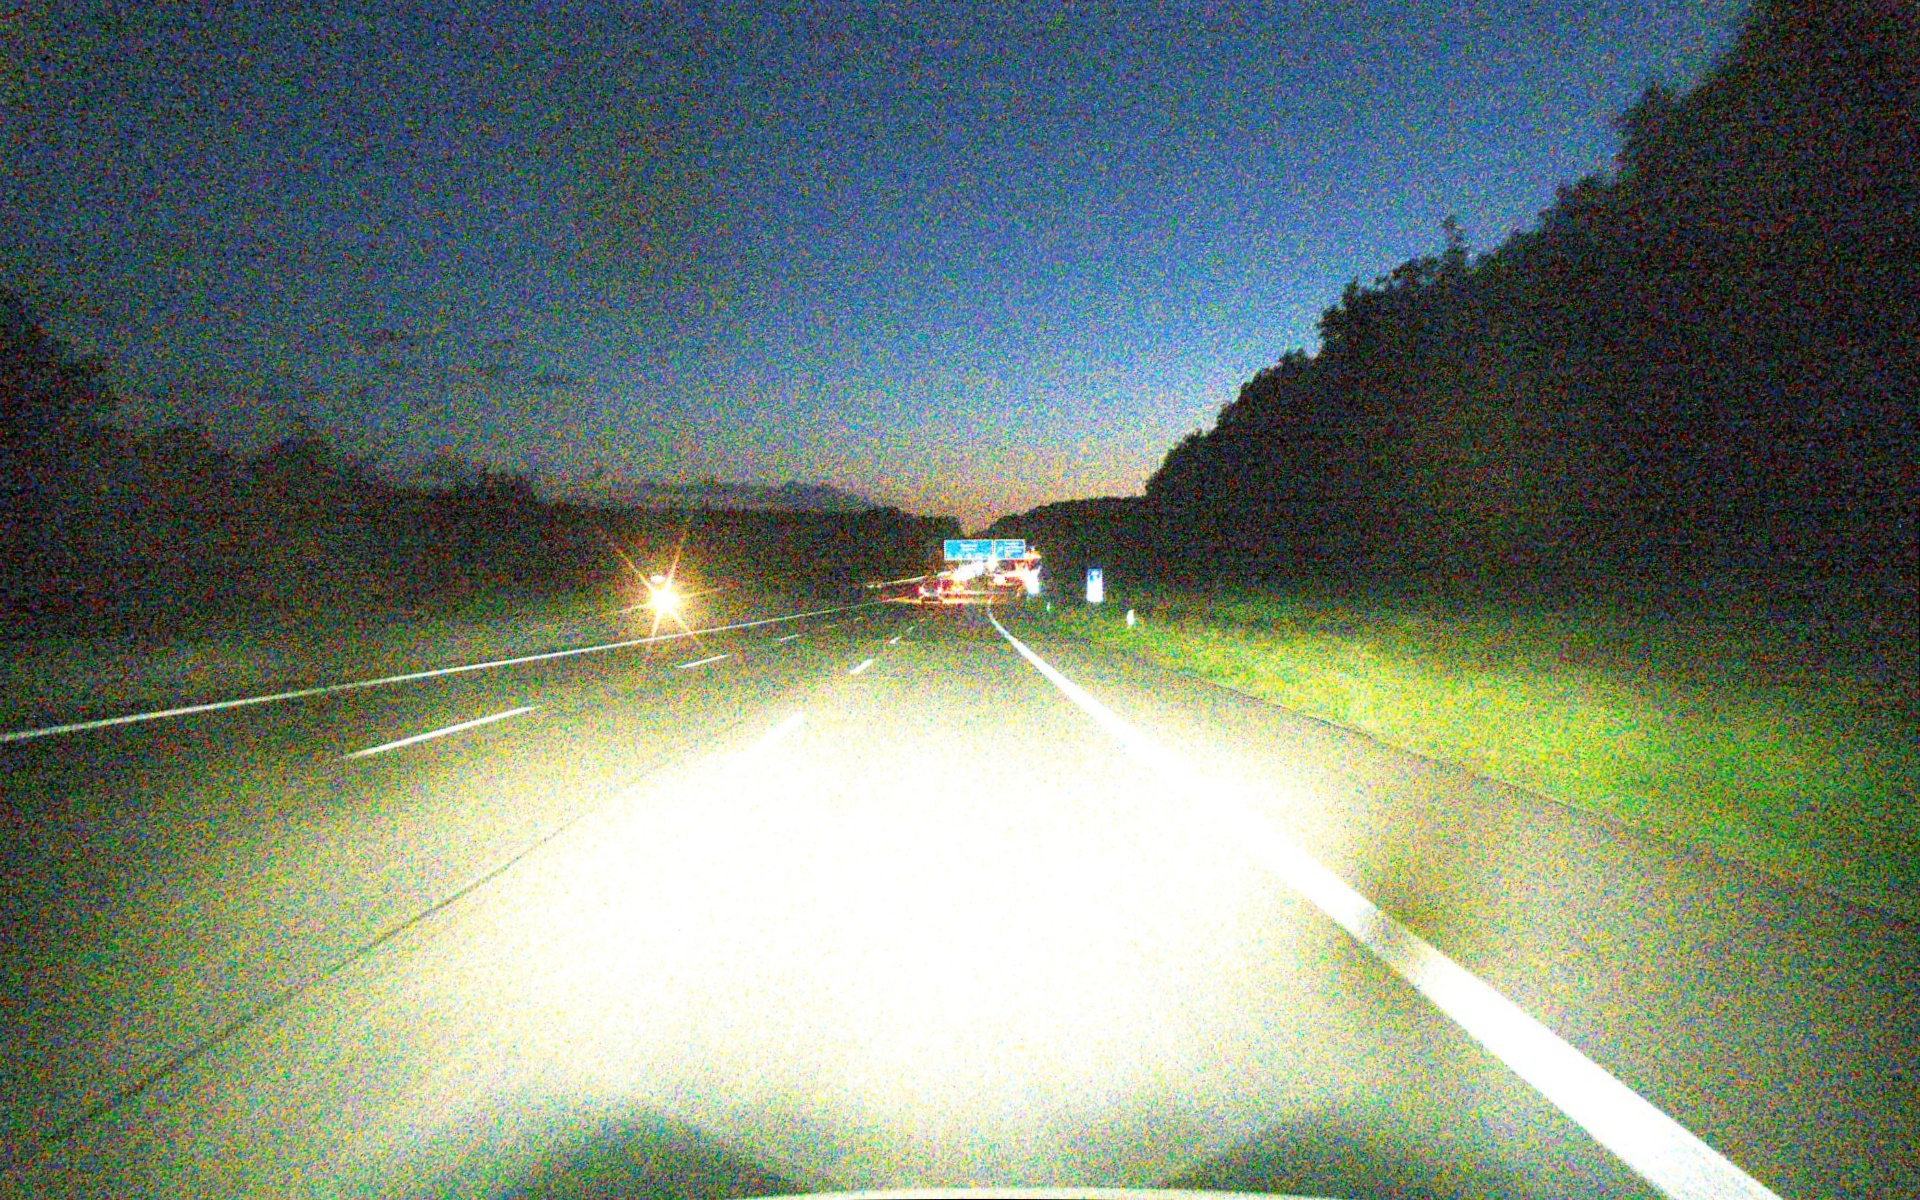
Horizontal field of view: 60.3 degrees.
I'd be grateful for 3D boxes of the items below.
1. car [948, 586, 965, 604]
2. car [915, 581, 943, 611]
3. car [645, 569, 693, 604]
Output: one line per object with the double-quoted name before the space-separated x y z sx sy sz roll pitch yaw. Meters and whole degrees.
"car" -0.544 -0.726 262.985 2.729 2.781 6.299 0 0 0
"car" -3.028 -0.365 161.698 2.730 2.781 6.297 0 0 -1
"car" -21.892 -0.987 124.656 2.342 2.495 6.670 1 -1 0
